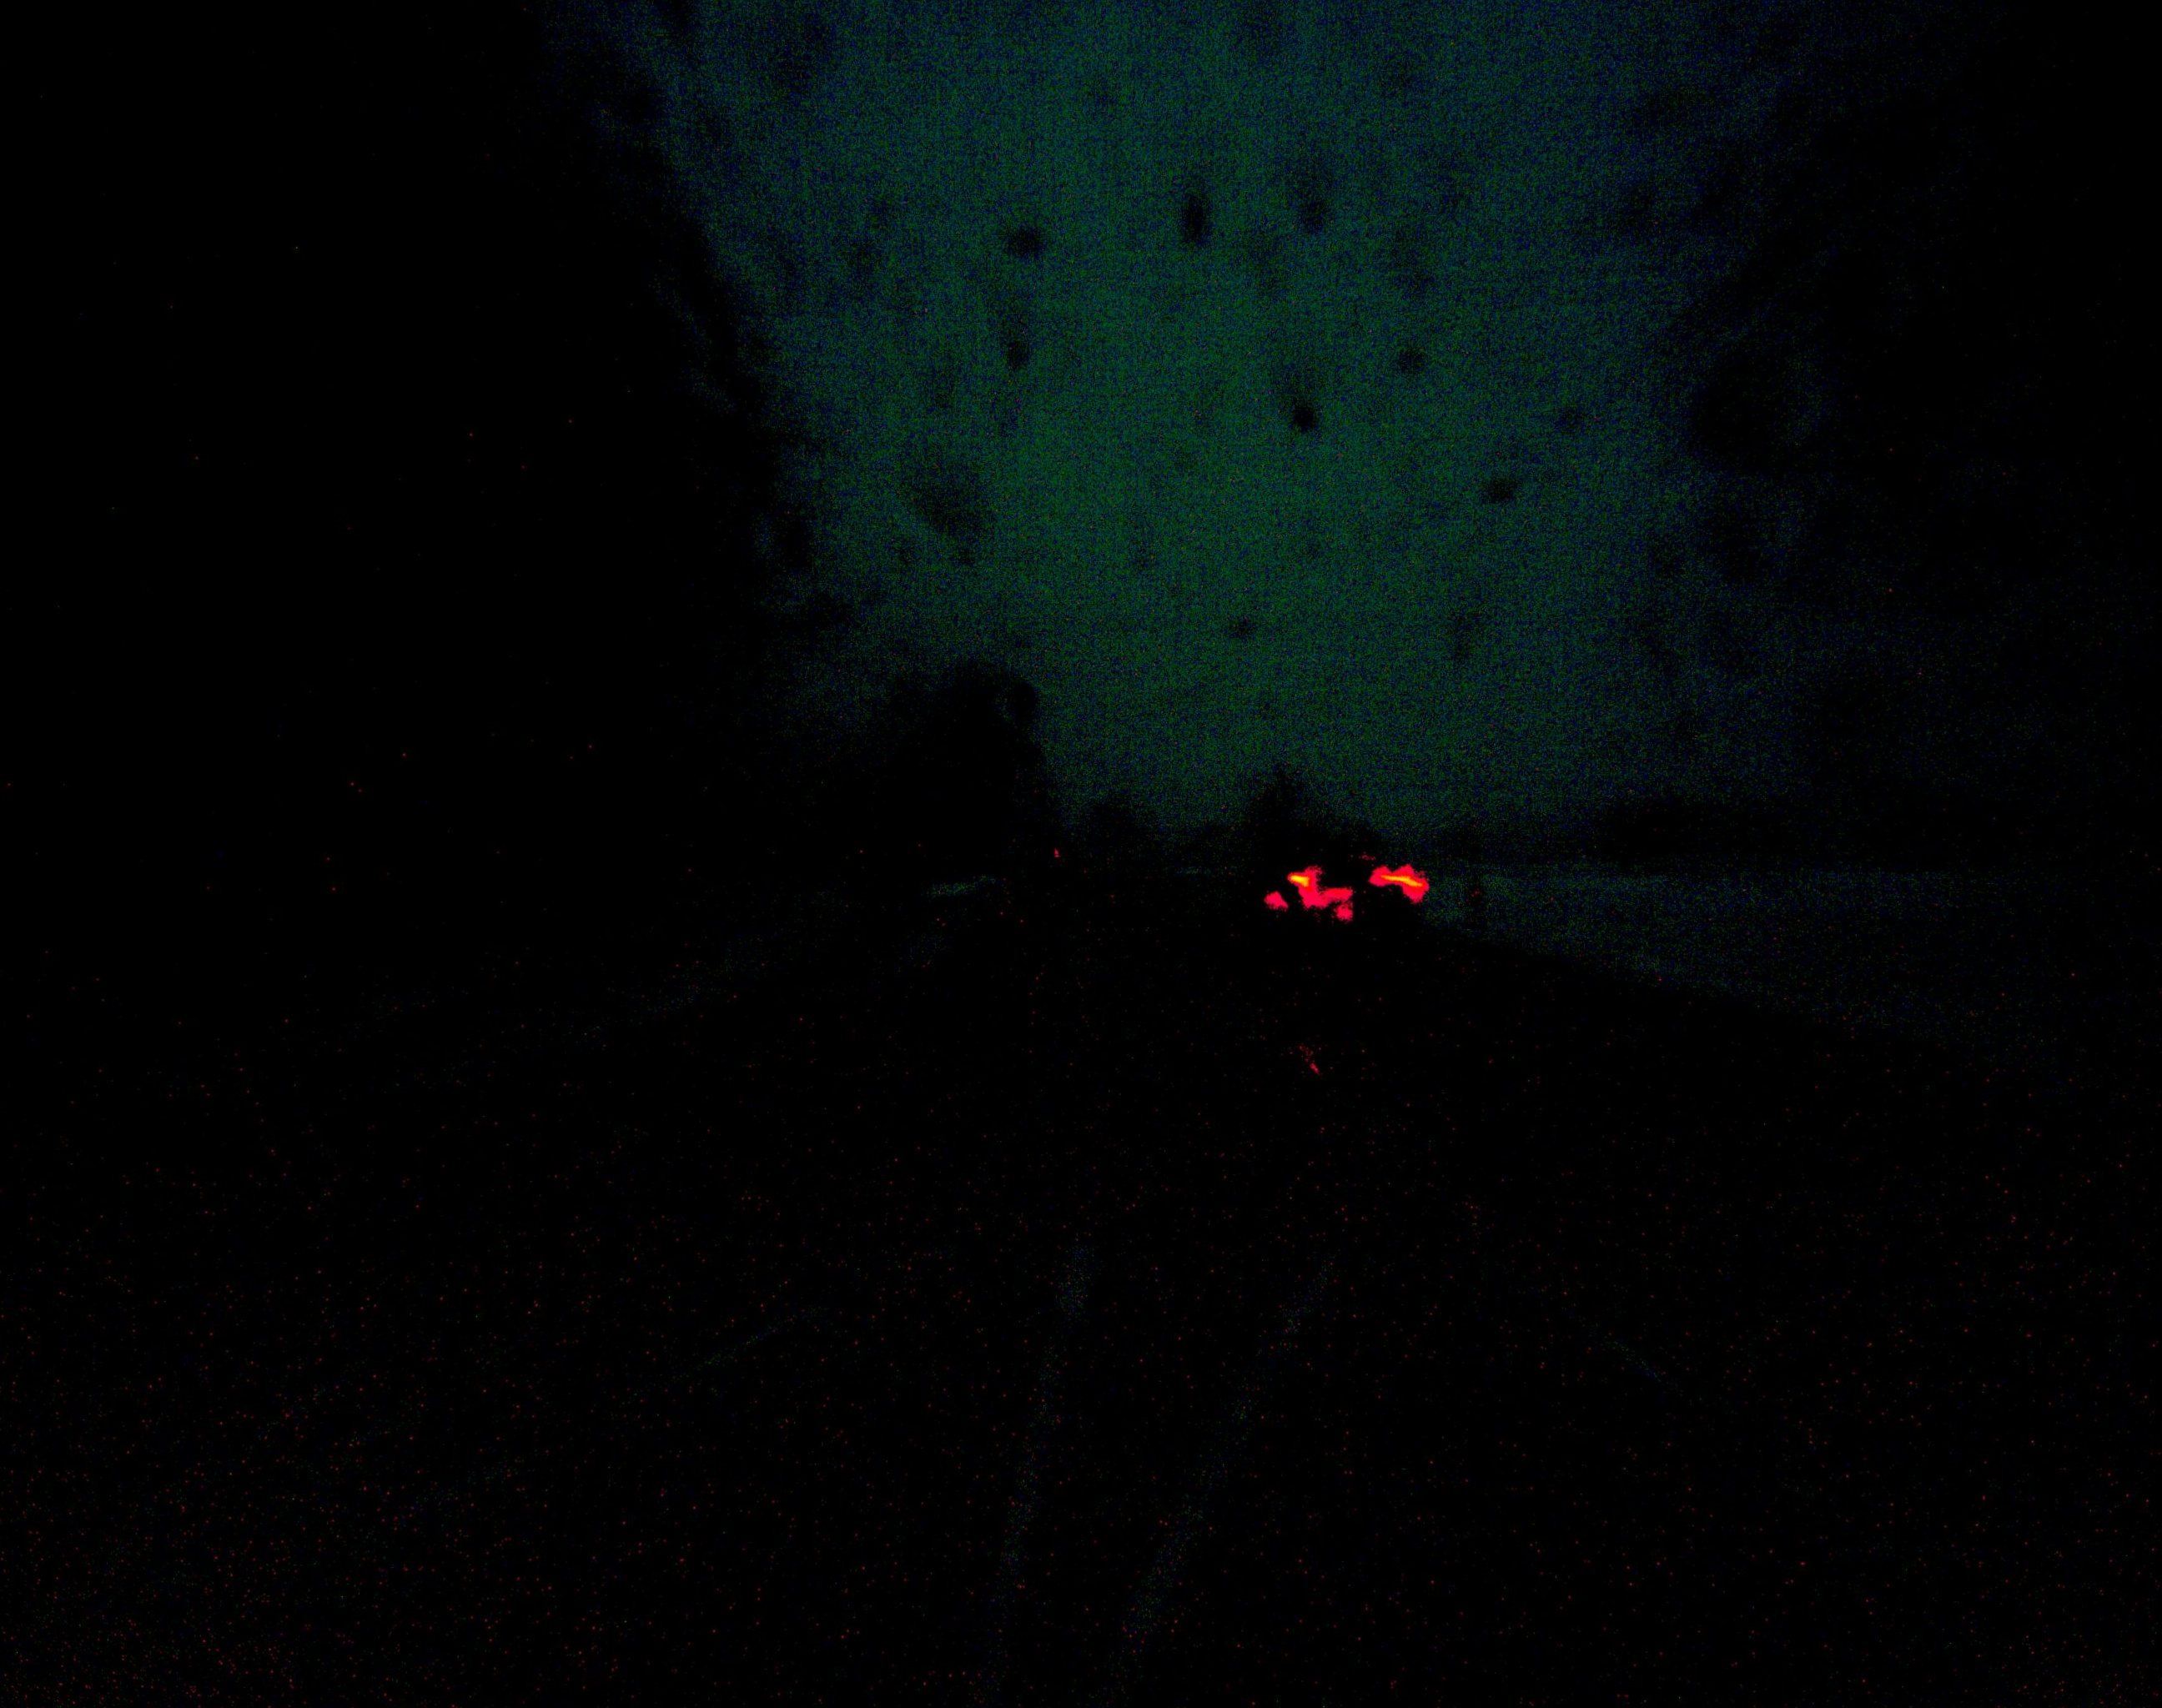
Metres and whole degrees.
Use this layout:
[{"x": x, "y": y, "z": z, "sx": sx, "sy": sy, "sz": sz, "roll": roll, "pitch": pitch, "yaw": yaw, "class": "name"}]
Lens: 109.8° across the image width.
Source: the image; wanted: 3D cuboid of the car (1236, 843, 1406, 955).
[{"x": 4.129, "y": 0.707, "z": 13.878, "sx": 1.756, "sy": 1.683, "sz": 4.426, "roll": -1, "pitch": 0, "yaw": 1, "class": "car"}]
